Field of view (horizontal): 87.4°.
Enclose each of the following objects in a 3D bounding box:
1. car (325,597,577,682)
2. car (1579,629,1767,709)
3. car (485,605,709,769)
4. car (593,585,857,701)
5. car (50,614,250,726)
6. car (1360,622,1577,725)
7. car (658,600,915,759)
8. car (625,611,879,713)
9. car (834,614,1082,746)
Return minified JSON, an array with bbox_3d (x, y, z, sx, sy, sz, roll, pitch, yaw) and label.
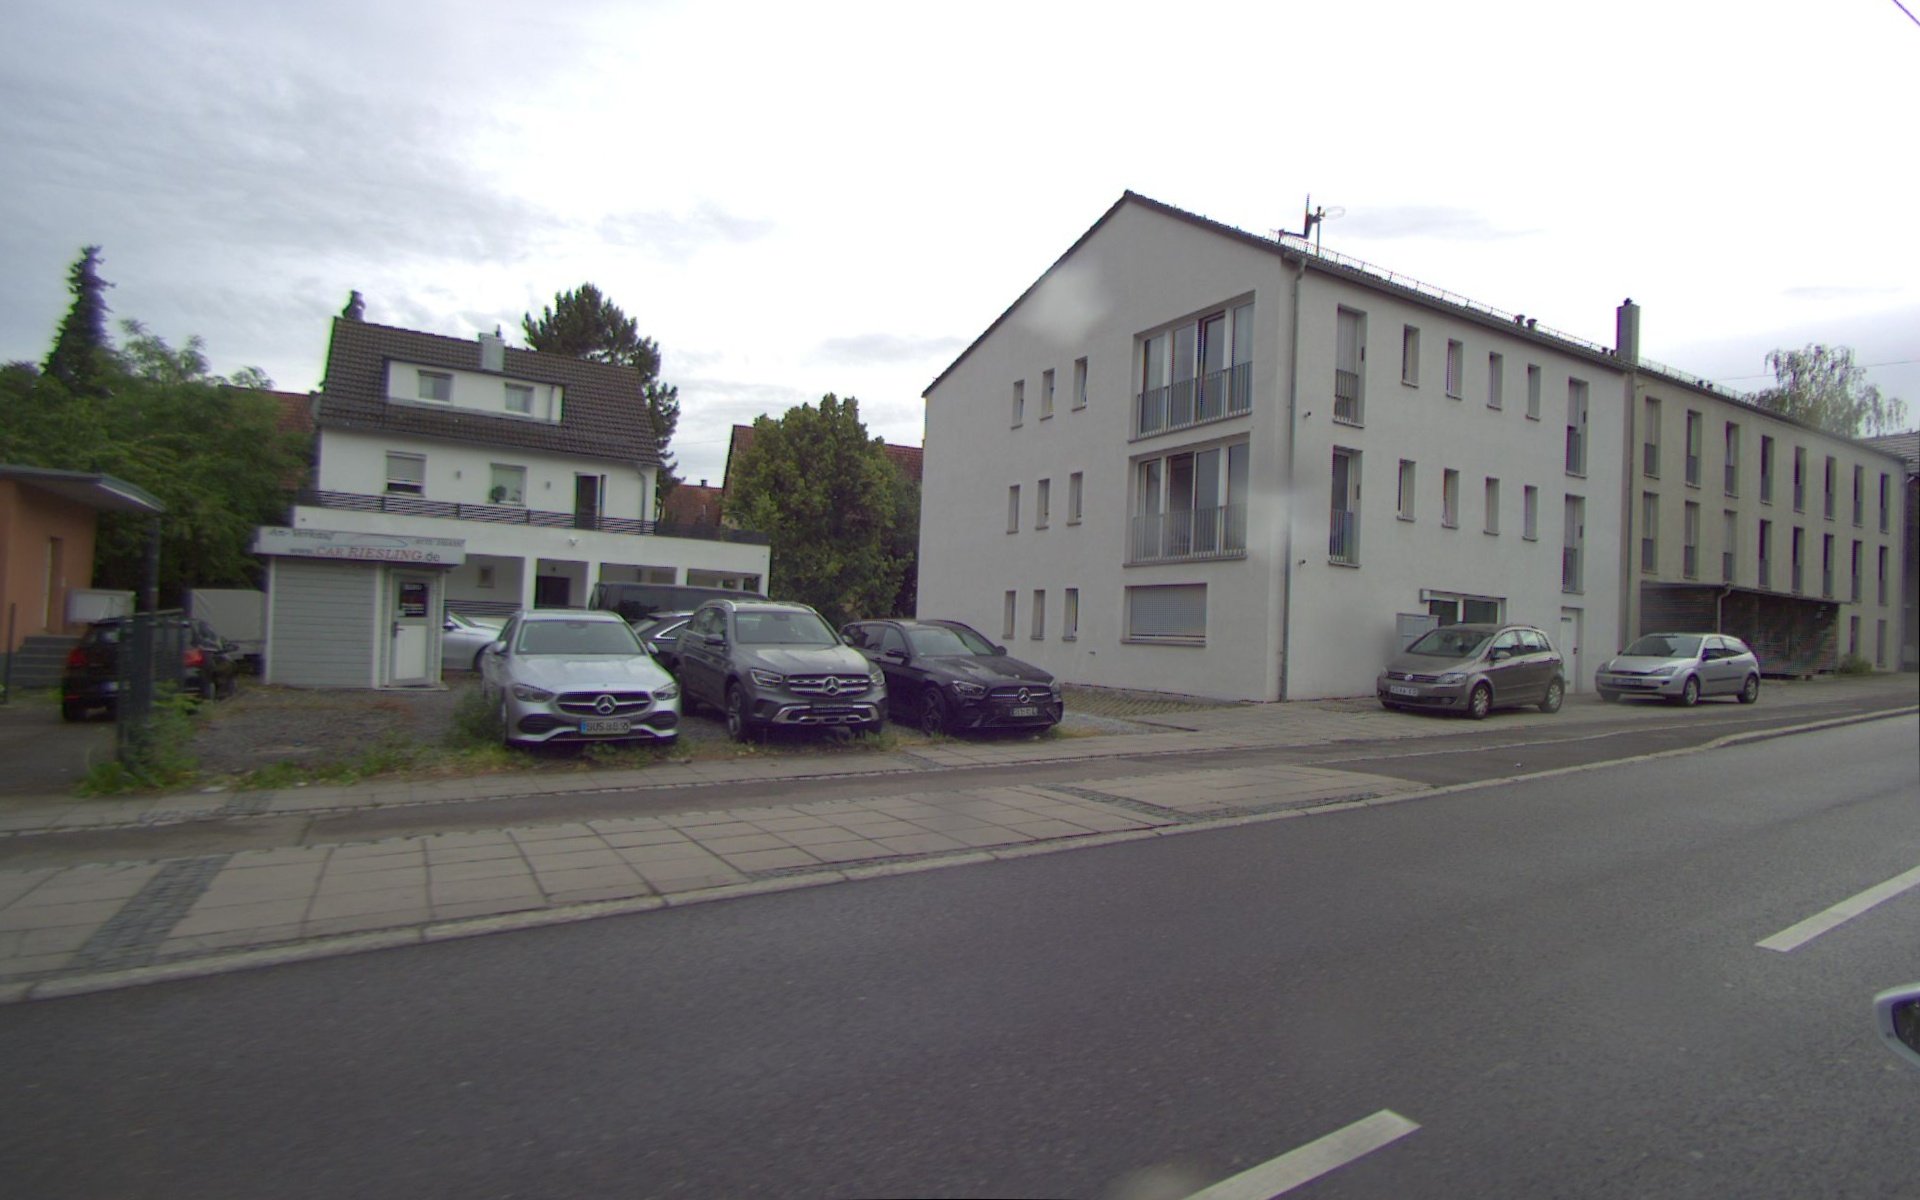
[{"bbox_3d":[-9.729,0.734,19.438,4.123,1.453,1.985,1,1,-28],"label":"car"},{"bbox_3d":[15.203,1.419,21.365,4.129,1.528,1.737,1,-1,-30],"label":"car"},{"bbox_3d":[-4.472,0.865,11.942,1.975,1.453,4.145,1,1,-27],"label":"car"},{"bbox_3d":[-4.581,0.830,19.790,4.709,2.040,1.984,1,-2,-31],"label":"car"},{"bbox_3d":[-12.138,0.961,15.318,1.783,1.452,3.860,1,-1,-30],"label":"car"},{"bbox_3d":[9.165,1.236,18.017,4.042,1.573,1.734,1,1,-35],"label":"car"},{"bbox_3d":[-2.528,0.895,13.531,2.126,1.630,4.513,1,1,-27],"label":"car"},{"bbox_3d":[-3.556,1.014,17.336,3.953,1.583,1.773,1,-2,-30],"label":"car"},{"bbox_3d":[-0.193,1.029,14.554,1.872,1.483,4.108,1,1,-28],"label":"car"}]
